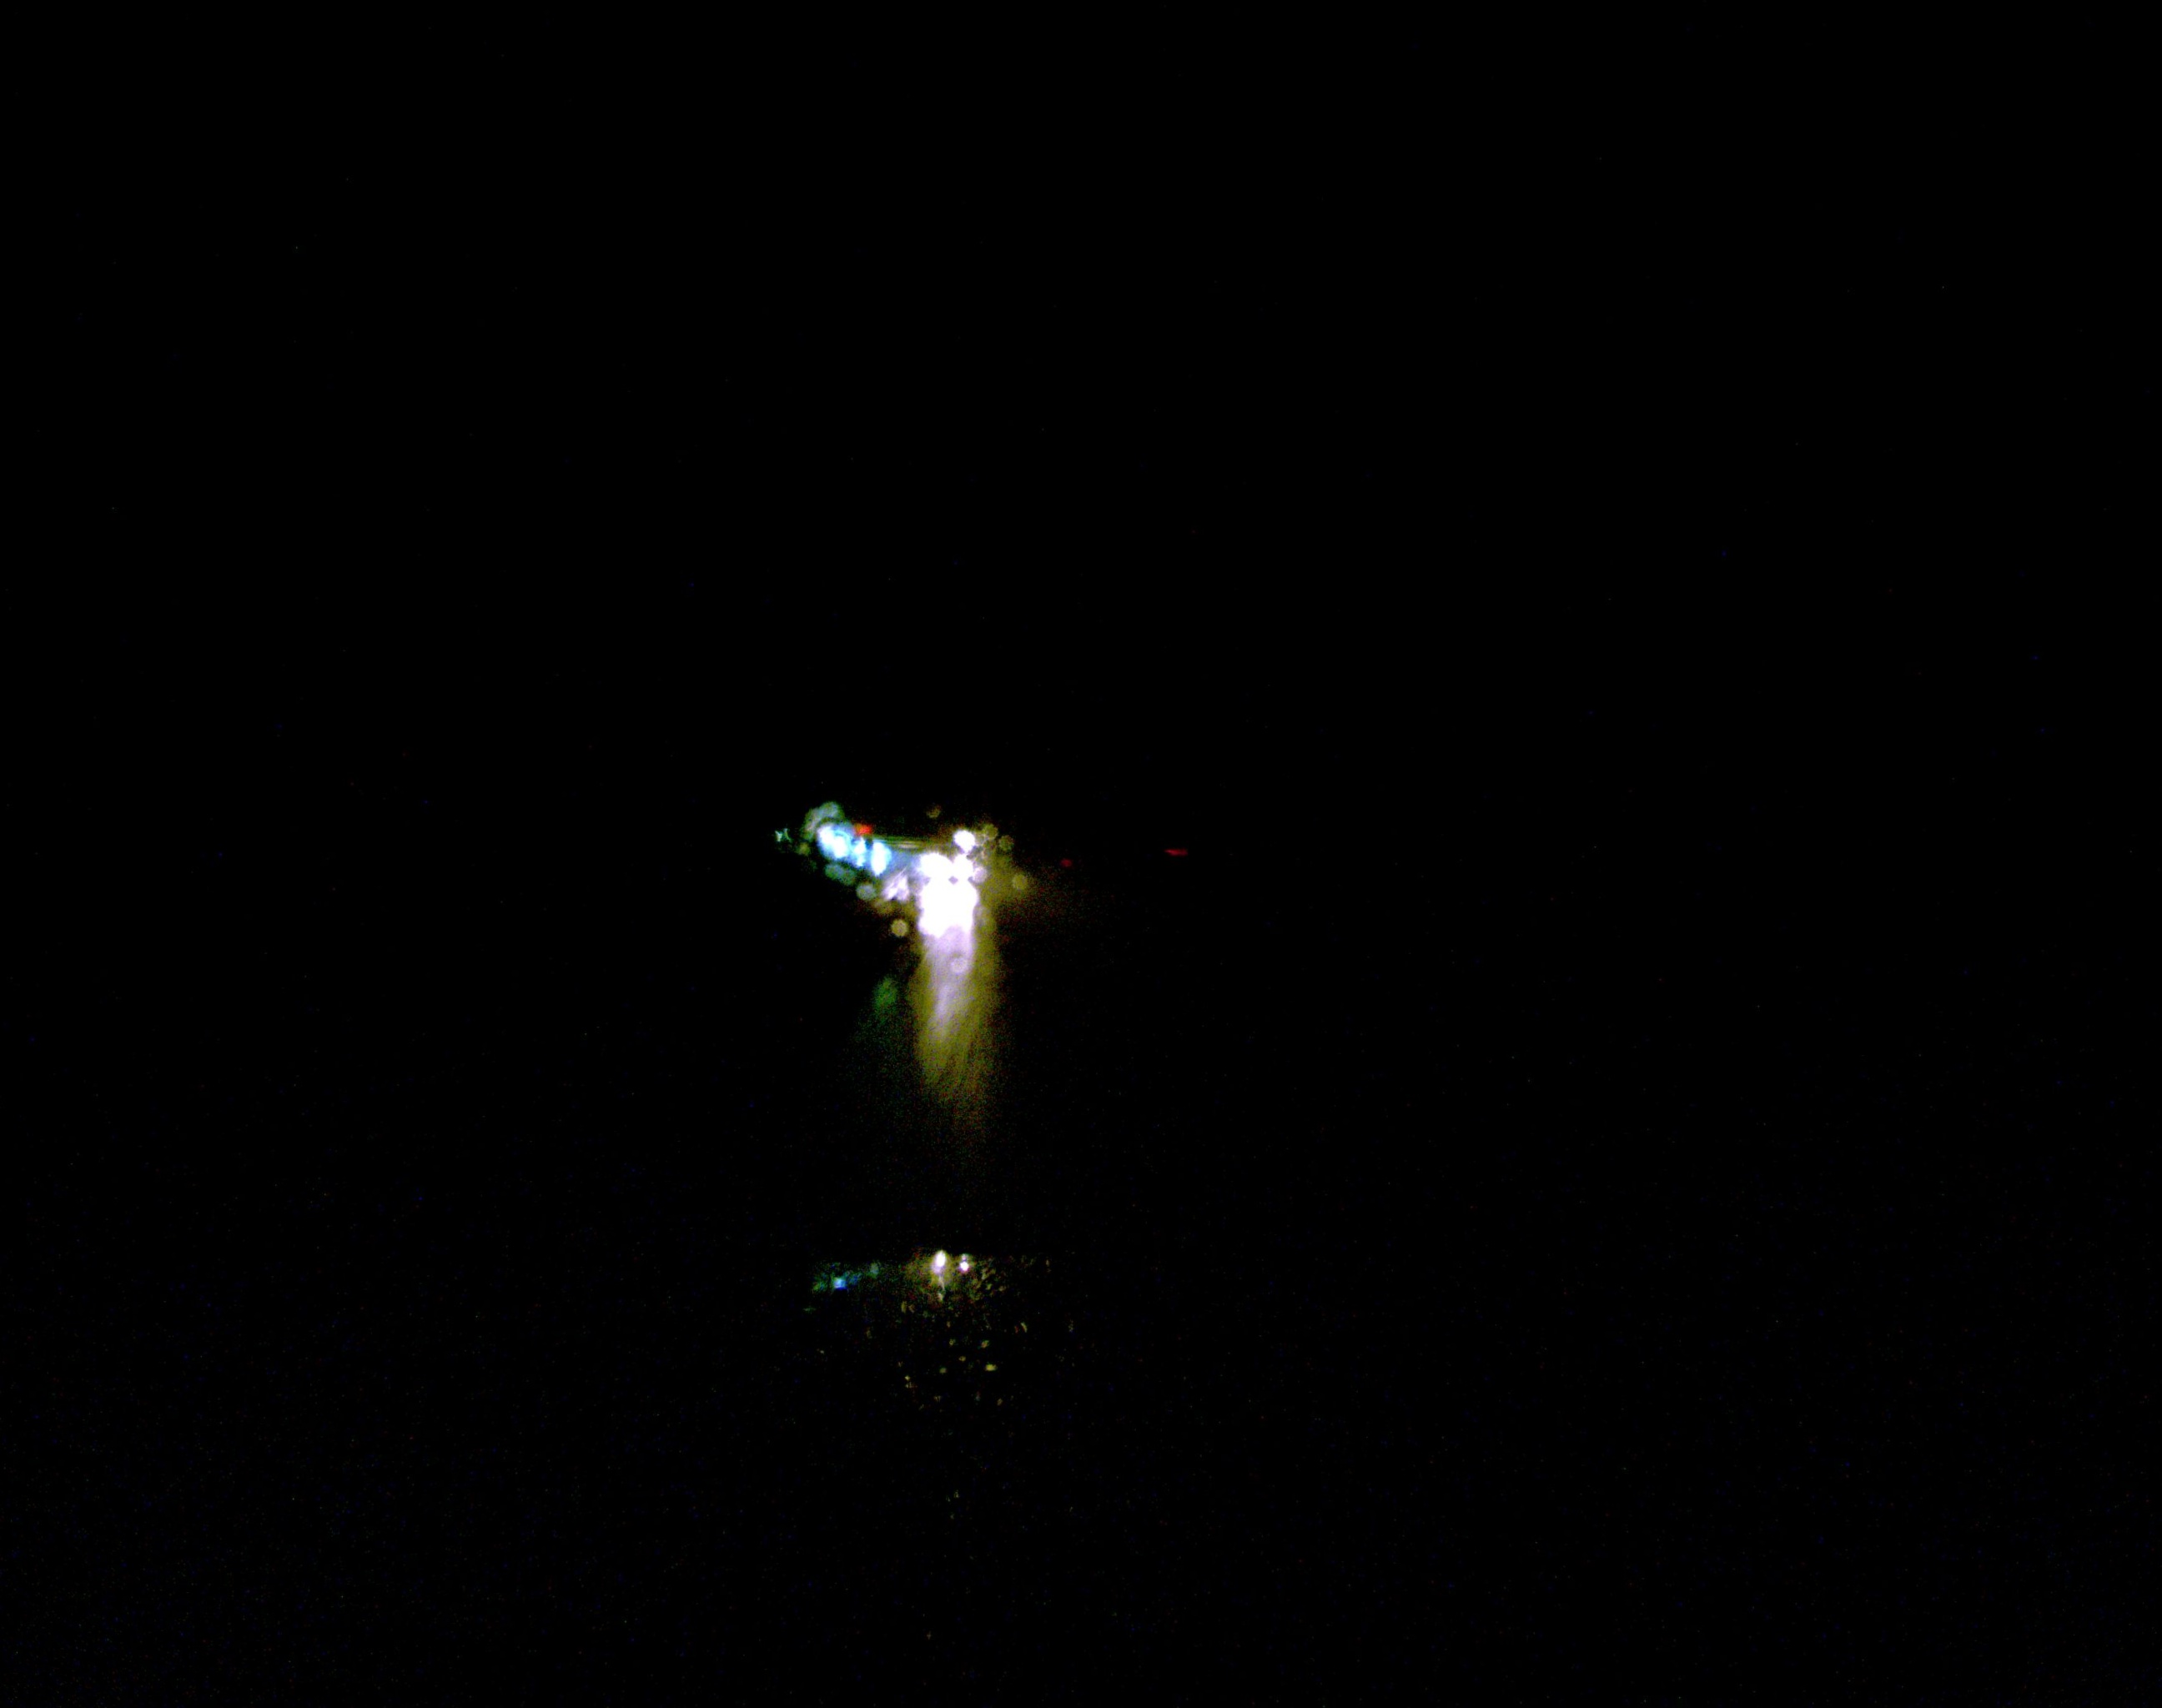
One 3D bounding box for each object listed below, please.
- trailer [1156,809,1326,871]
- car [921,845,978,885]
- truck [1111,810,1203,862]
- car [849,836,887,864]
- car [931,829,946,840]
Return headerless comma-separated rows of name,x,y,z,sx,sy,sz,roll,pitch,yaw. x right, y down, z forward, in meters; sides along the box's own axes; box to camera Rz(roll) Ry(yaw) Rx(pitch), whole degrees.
trailer,10.923,-1.150,54.397,3.457,3.856,13.325,-1,3,-33
car,-6.272,0.471,35.823,1.896,1.603,3.991,0,3,-21
truck,6.054,-1.429,61.764,3.416,3.951,7.437,-1,2,-34
car,-16.892,-0.330,60.239,2.002,2.002,3.991,-5,2,-27
car,-20.200,-2.778,107.789,1.791,1.466,3.885,1,3,-14
